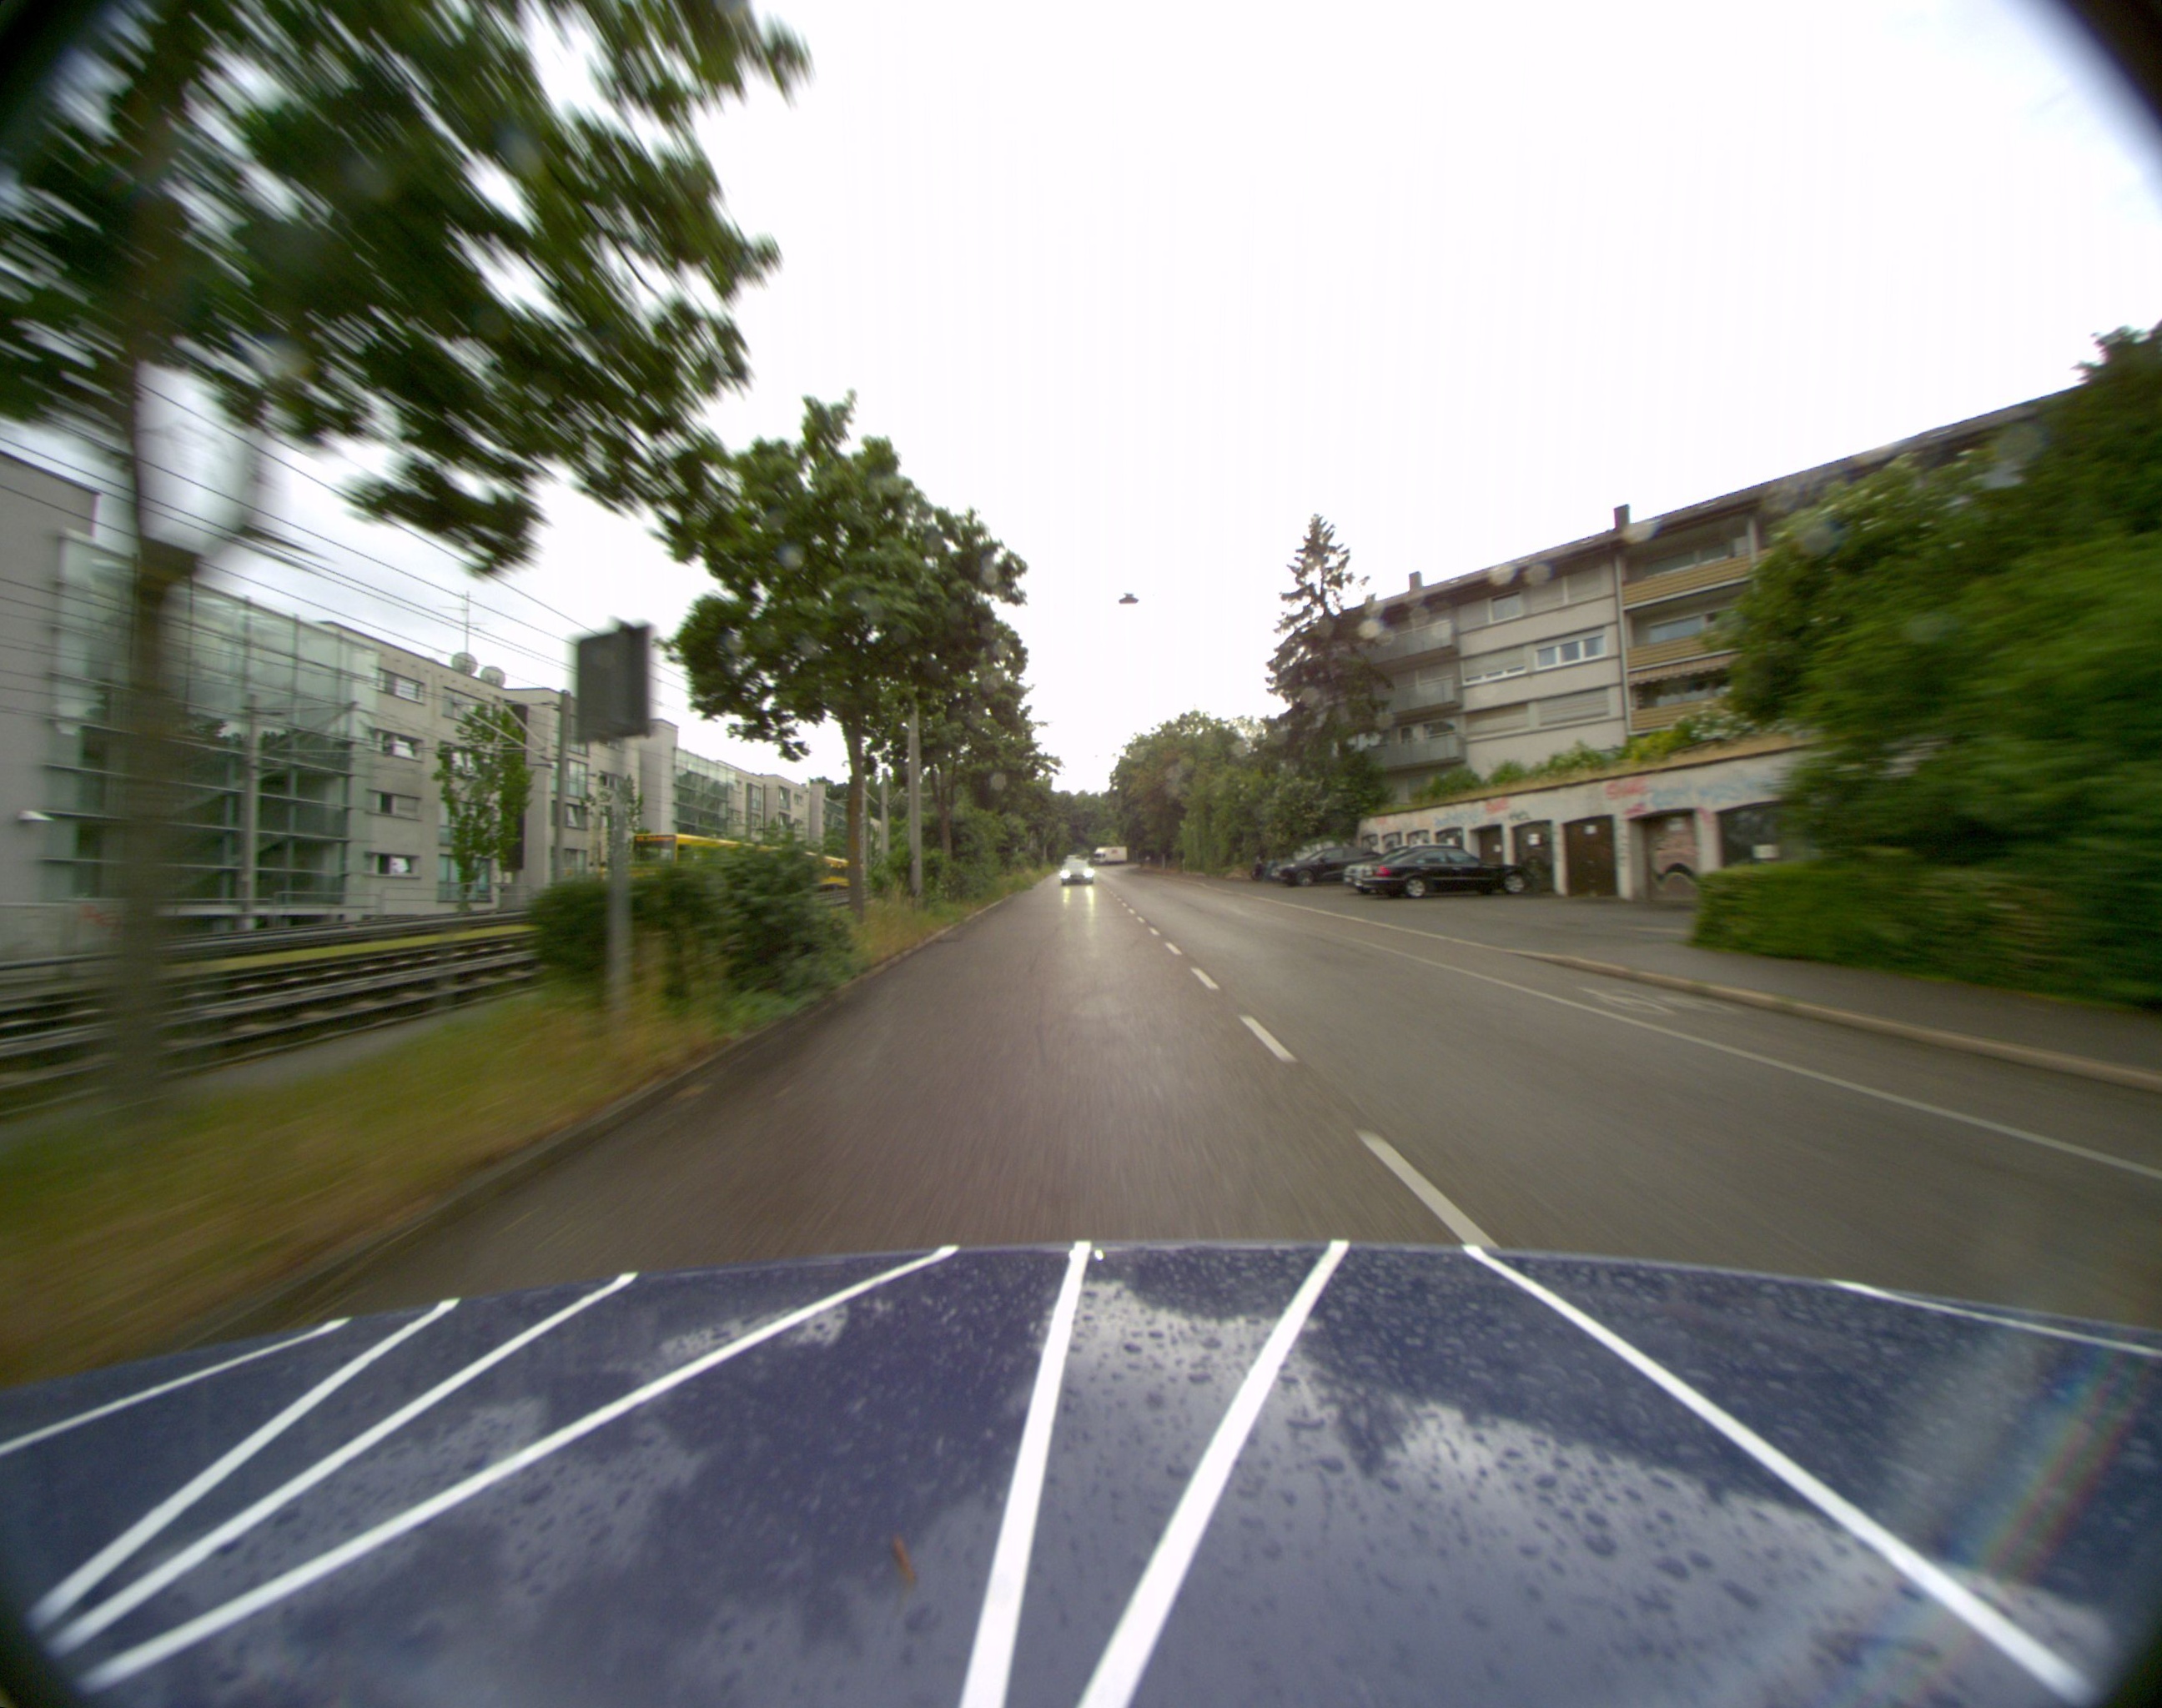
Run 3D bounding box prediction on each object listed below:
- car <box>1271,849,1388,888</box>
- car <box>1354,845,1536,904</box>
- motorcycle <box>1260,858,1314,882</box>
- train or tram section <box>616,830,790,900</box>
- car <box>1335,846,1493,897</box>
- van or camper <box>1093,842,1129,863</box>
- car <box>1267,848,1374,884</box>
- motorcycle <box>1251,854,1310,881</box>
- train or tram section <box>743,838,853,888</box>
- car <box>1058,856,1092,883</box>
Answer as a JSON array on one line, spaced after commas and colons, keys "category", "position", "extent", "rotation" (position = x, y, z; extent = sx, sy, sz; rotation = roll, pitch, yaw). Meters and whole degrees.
[{"category": "car", "position": [10.630, 0.597, 32.759], "extent": [4.440, 1.519, 1.775], "rotation": [-2, 0, 1]}, {"category": "car", "position": [10.784, 0.582, 22.727], "extent": [4.496, 1.481, 1.848], "rotation": [-3, 1, 1]}, {"category": "motorcycle", "position": [10.027, 0.791, 37.006], "extent": [2.460, 1.102, 0.661], "rotation": [-2, 0, 7]}, {"category": "train or tram section", "position": [-22.387, 0.626, 46.647], "extent": [3.204, 3.540, 14.503], "rotation": [-2, 0, 1]}, {"category": "car", "position": [10.923, 0.553, 25.103], "extent": [4.441, 1.519, 1.774], "rotation": [-2, 0, -2]}, {"category": "van or camper", "position": [5.874, -0.337, 146.321], "extent": [2.882, 3.914, 8.160], "rotation": [-1, 0, 36]}, {"category": "car", "position": [11.134, 0.527, 35.542], "extent": [4.440, 1.519, 1.775], "rotation": [-2, 0, 1]}, {"category": "motorcycle", "position": [10.166, 0.678, 38.769], "extent": [2.806, 1.265, 1.280], "rotation": [-2, 1, 15]}, {"category": "train or tram section", "position": [-22.244, 0.692, 61.197], "extent": [3.114, 3.478, 14.857], "rotation": [-2, 0, 1]}, {"category": "car", "position": [-0.352, 1.018, 46.981], "extent": [1.861, 1.468, 4.001], "rotation": [-4, -2, 0]}]
